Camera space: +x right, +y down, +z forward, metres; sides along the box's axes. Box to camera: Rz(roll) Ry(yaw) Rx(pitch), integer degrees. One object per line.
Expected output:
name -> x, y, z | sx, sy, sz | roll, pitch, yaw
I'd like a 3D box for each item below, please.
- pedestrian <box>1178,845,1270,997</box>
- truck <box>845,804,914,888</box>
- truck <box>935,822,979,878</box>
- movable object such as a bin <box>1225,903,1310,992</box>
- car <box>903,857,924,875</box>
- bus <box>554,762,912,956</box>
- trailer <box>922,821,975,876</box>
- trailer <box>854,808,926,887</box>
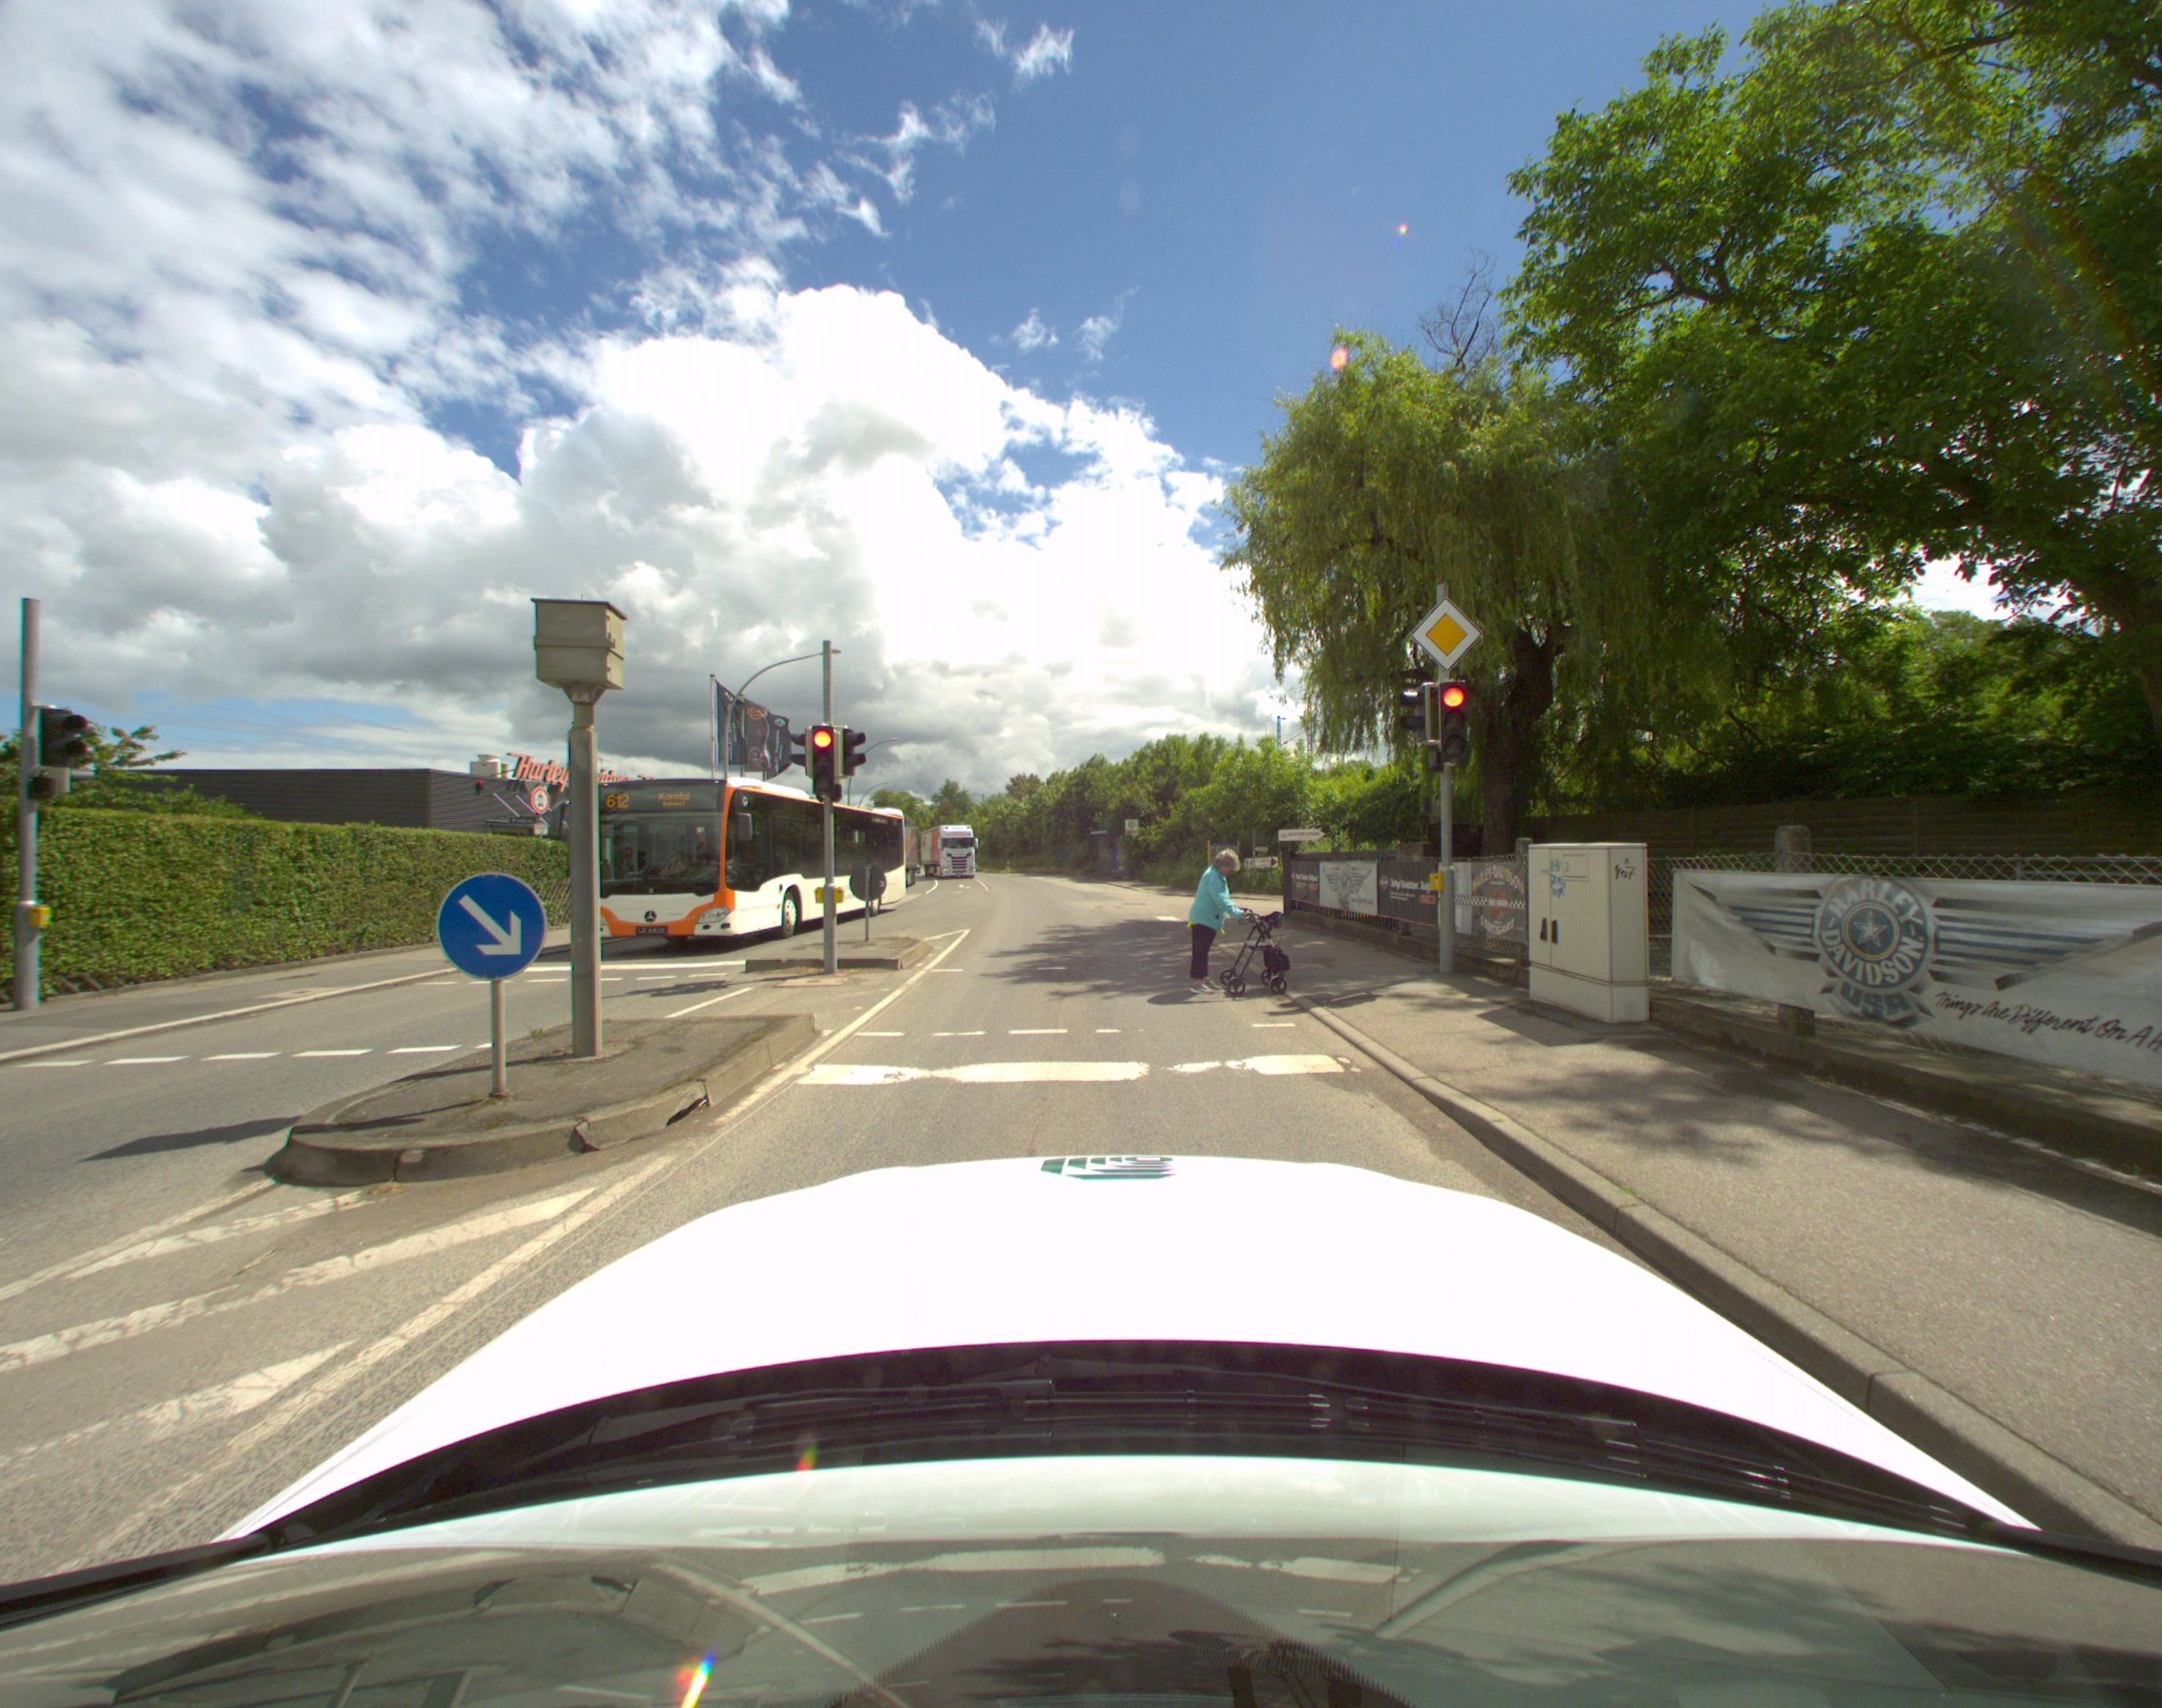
pedestrian -> 1.510, 0.687, 8.721 | 0.836, 1.543, 0.733 | 0, -1, -2
truck -> -10.393, -0.347, 42.613 | 2.797, 4.053, 6.483 | 0, -1, -8
truck -> -9.515, -0.284, 62.151 | 2.777, 4.119, 4.959 | 0, -1, -16
movable object such as a bin -> 1.983, 0.986, 8.725 | 0.744, 0.871, 0.670 | 0, -1, -2
car -> -17.069, 1.215, 82.875 | 1.995, 1.706, 3.982 | 0, -1, -13
bus -> -6.820, 0.128, 19.101 | 2.708, 3.031, 12.270 | -2, -1, 2
trailer -> -11.444, -0.324, 68.890 | 2.777, 4.145, 15.267 | 0, -1, -16
trailer -> -11.361, -0.282, 49.836 | 2.797, 4.053, 15.513 | 0, 0, -8
